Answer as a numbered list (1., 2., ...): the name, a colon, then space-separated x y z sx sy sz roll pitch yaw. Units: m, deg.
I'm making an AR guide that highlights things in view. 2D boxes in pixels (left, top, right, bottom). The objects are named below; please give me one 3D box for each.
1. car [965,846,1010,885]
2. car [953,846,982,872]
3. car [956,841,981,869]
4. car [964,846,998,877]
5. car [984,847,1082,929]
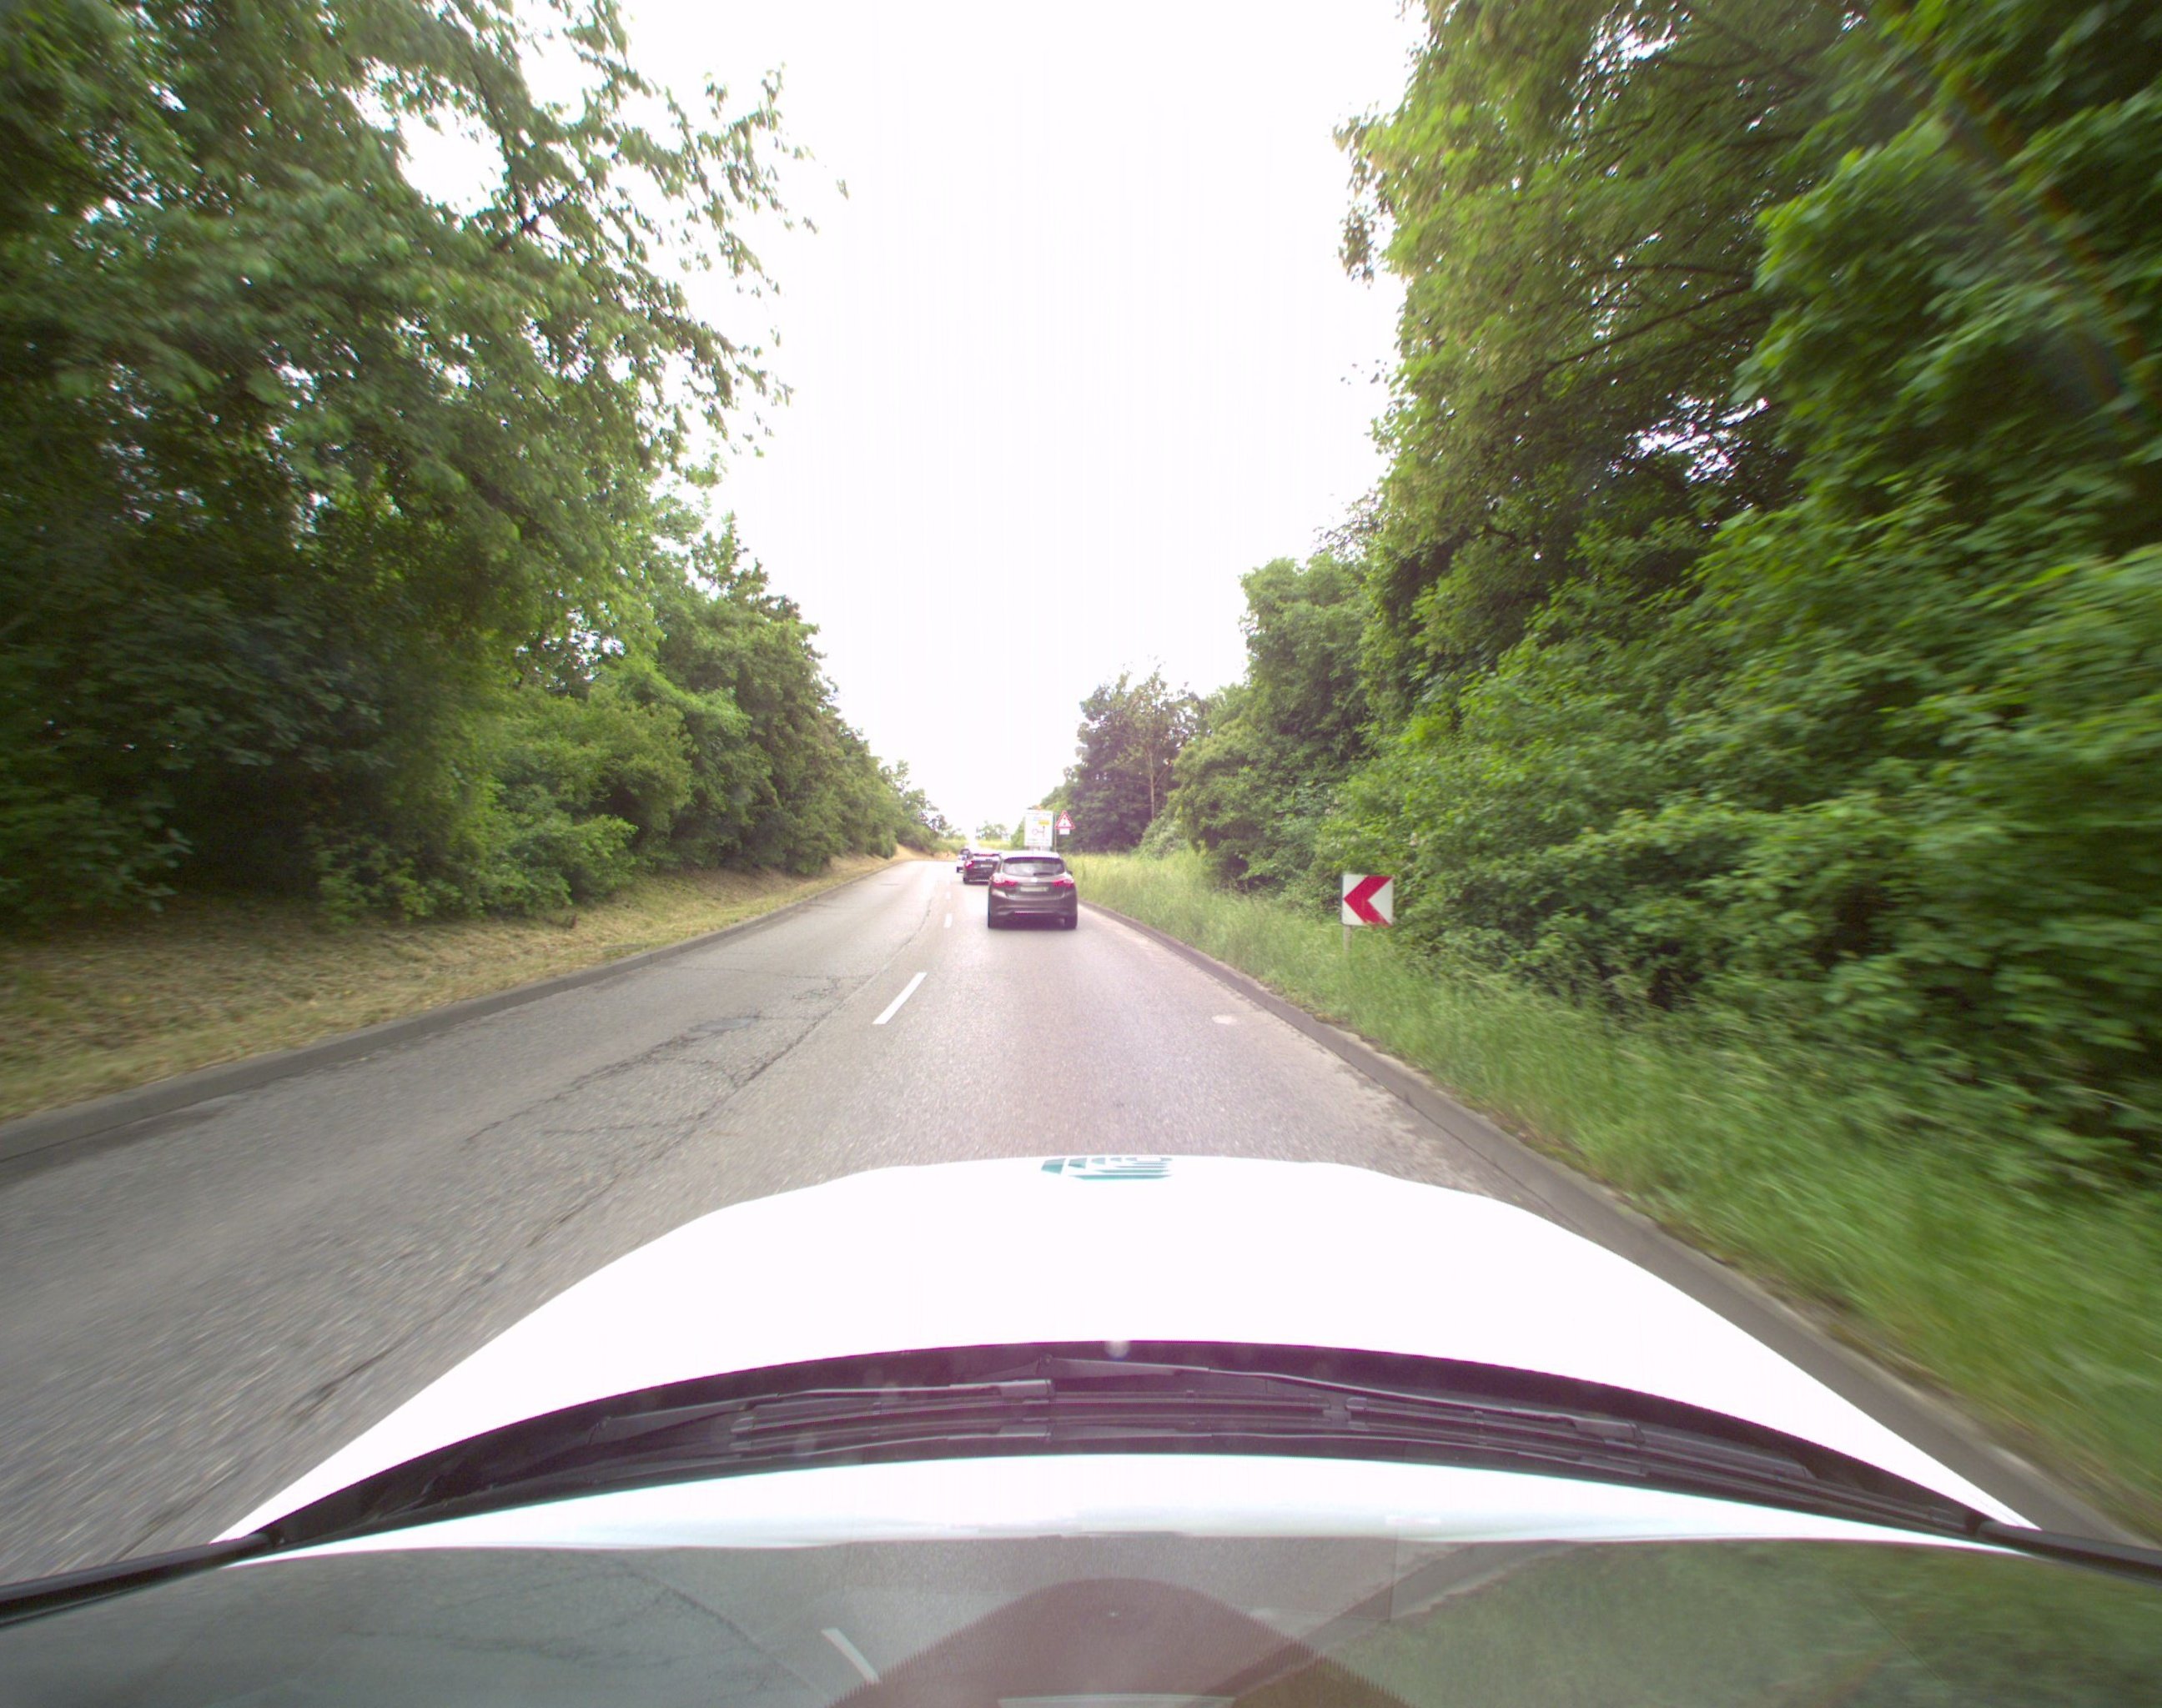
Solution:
1. car: -4.105 0.456 35.385 1.829 1.556 3.614 0 0 -9
2. car: -7.111 0.261 50.835 1.735 1.556 3.533 0 0 -9
3. car: -8.053 0.024 58.299 1.735 1.935 3.533 0 0 -9
4. car: -5.349 0.384 43.259 1.735 1.556 3.533 0 0 -9
5. car: -1.101 0.627 17.180 1.829 1.556 3.490 0 0 -8
